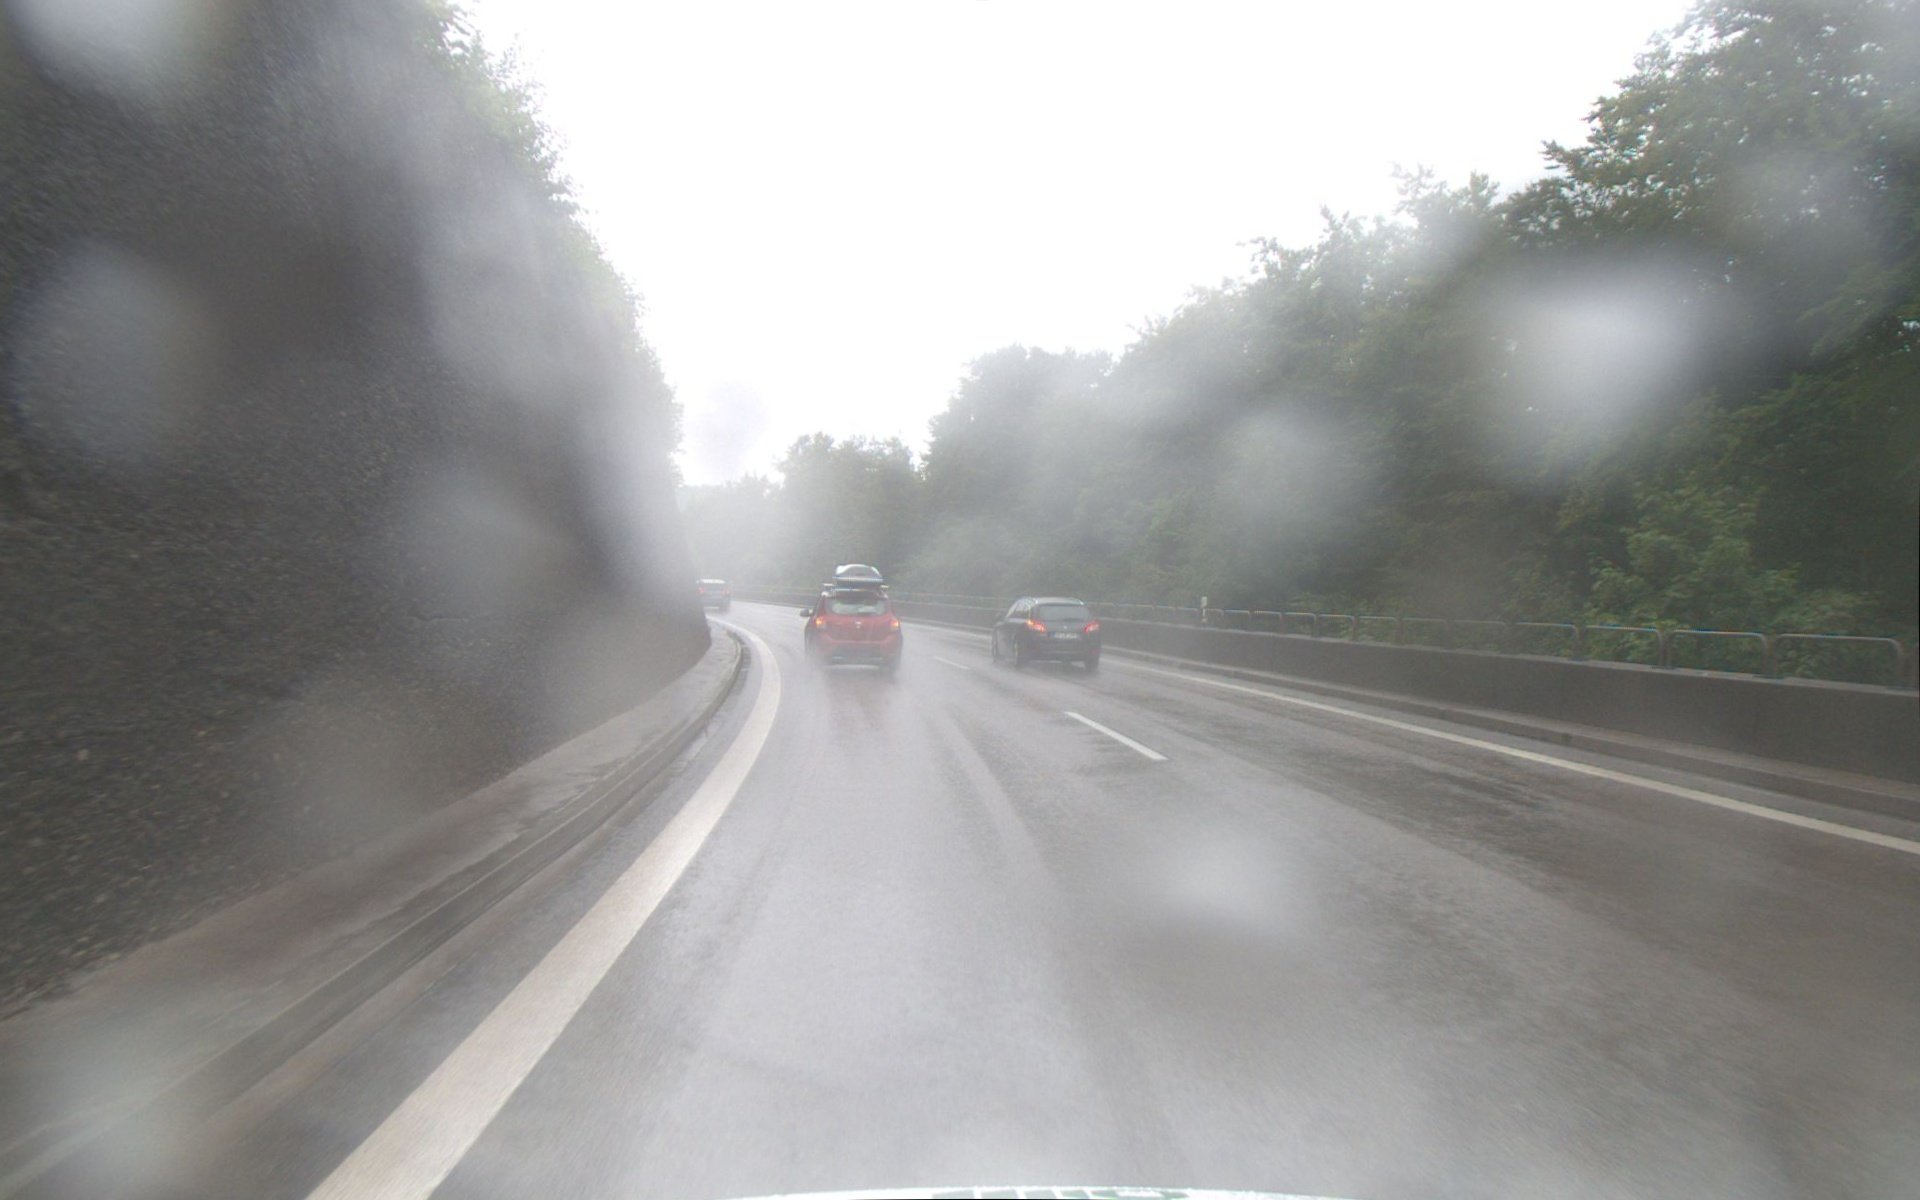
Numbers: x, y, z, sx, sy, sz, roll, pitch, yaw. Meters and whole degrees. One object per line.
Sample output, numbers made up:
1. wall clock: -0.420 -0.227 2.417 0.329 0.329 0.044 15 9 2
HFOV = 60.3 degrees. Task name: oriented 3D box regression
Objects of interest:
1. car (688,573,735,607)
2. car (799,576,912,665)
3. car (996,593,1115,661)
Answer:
1. car: -13.489 -0.508 89.633 1.961 1.713 3.982 2 -1 -16
2. car: -2.089 0.380 31.978 1.955 1.579 3.994 1 0 -7
3. car: 1.978 0.548 35.275 1.767 1.330 3.992 1 0 -8
